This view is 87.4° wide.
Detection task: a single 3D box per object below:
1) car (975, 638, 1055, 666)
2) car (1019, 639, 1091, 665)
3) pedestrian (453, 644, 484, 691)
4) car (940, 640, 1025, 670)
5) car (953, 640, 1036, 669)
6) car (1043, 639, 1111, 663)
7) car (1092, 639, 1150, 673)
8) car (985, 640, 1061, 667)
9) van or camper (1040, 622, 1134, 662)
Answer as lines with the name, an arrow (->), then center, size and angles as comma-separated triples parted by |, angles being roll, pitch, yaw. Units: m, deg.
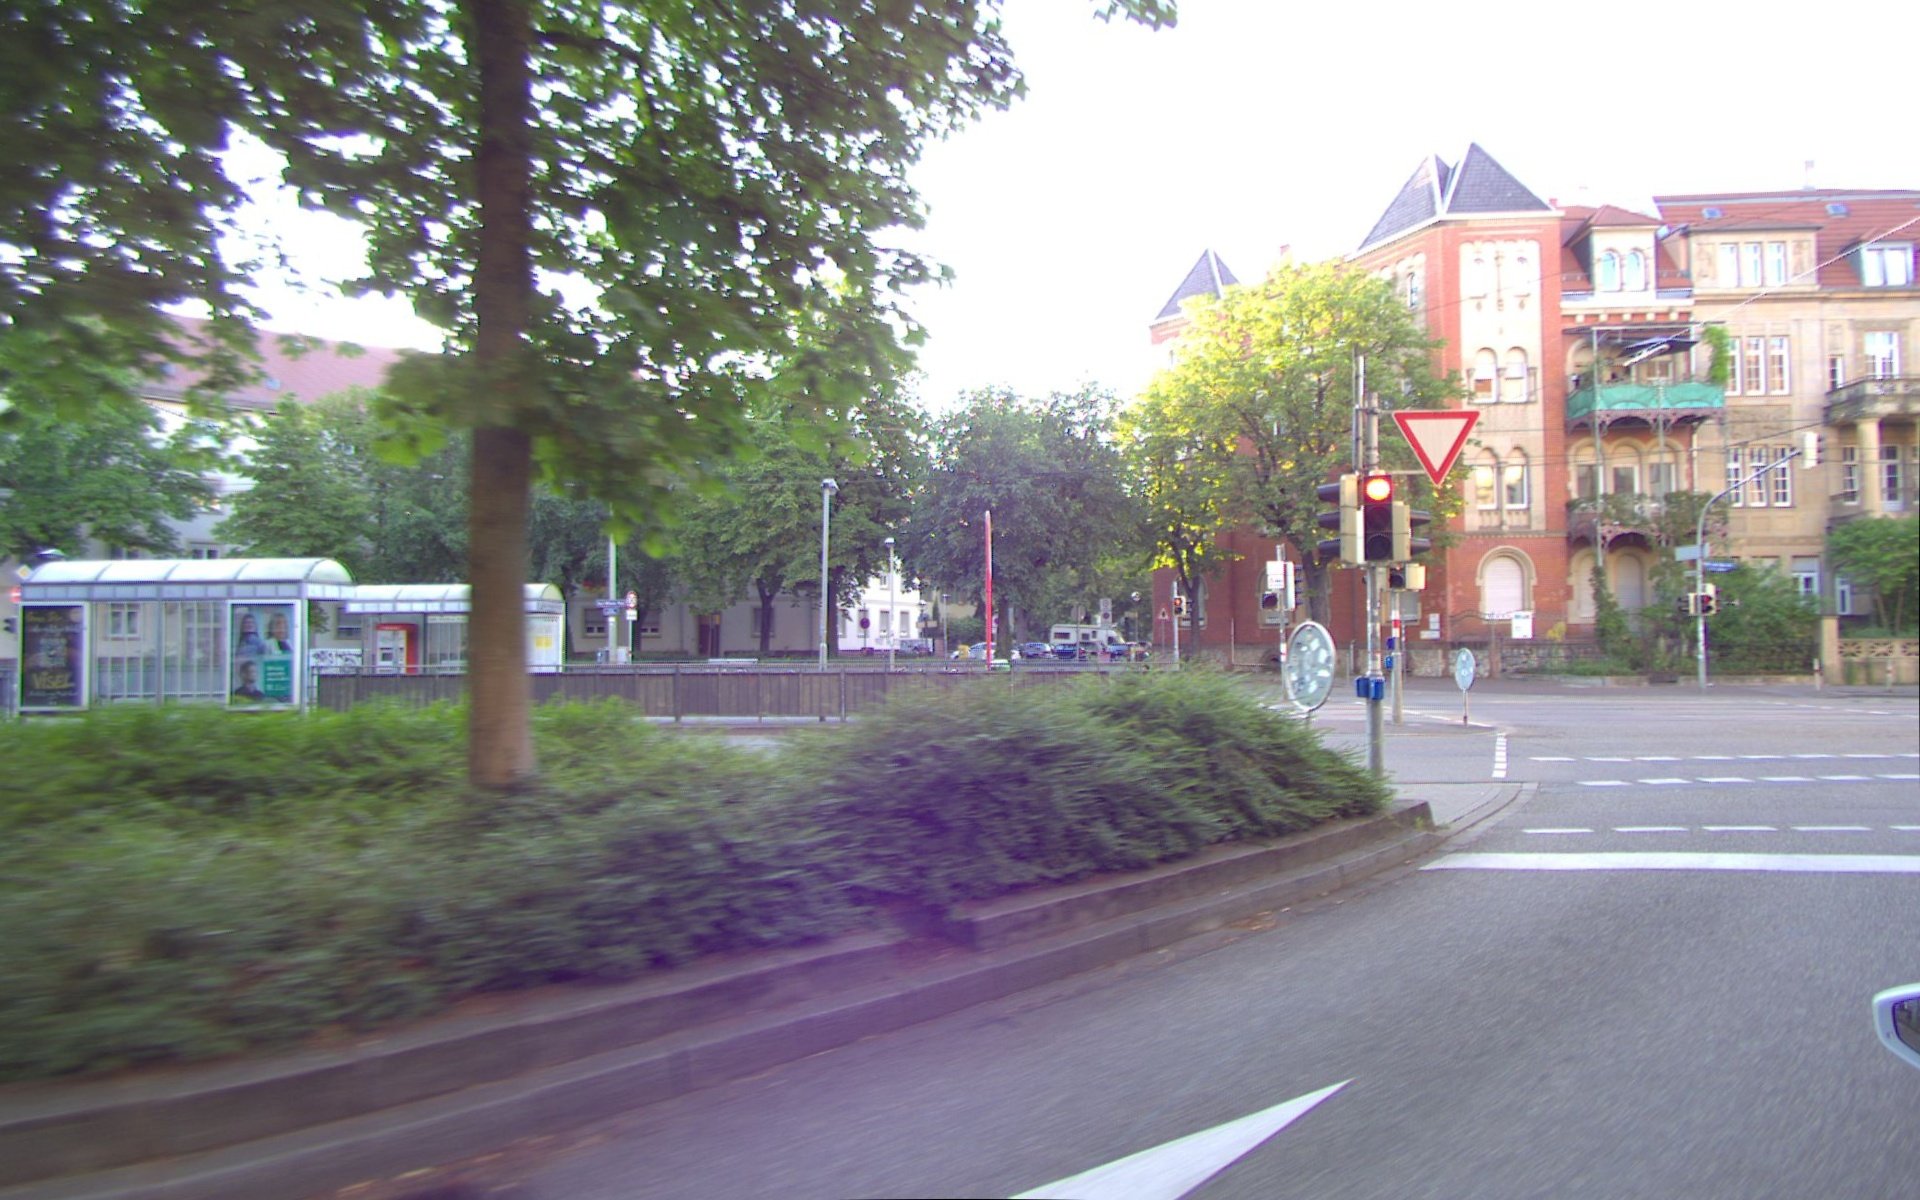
car -> 3.612, 3.386, 66.216 | 4.870, 1.726, 2.000 | 0, -2, 22
car -> 6.968, 3.790, 73.397 | 4.870, 1.726, 2.000 | 0, -2, 22
pedestrian -> -22.586, 3.095, 46.139 | 1.052, 2.113, 1.002 | 2, -3, -41
car -> 1.399, 3.350, 62.174 | 4.870, 1.726, 2.000 | 0, -2, 22
car -> 2.199, 3.483, 64.262 | 4.870, 1.726, 2.000 | 0, -2, 22
car -> 9.072, 3.940, 77.880 | 4.870, 1.726, 2.000 | 0, -2, 22
car -> 8.739, 2.980, 54.174 | 1.962, 1.726, 4.717 | 0, -2, 24
car -> 4.329, 3.641, 69.208 | 4.870, 1.726, 2.000 | 0, -2, 22
van or camper -> 10.489, 3.476, 83.024 | 7.246, 3.123, 2.673 | 0, -2, 22
